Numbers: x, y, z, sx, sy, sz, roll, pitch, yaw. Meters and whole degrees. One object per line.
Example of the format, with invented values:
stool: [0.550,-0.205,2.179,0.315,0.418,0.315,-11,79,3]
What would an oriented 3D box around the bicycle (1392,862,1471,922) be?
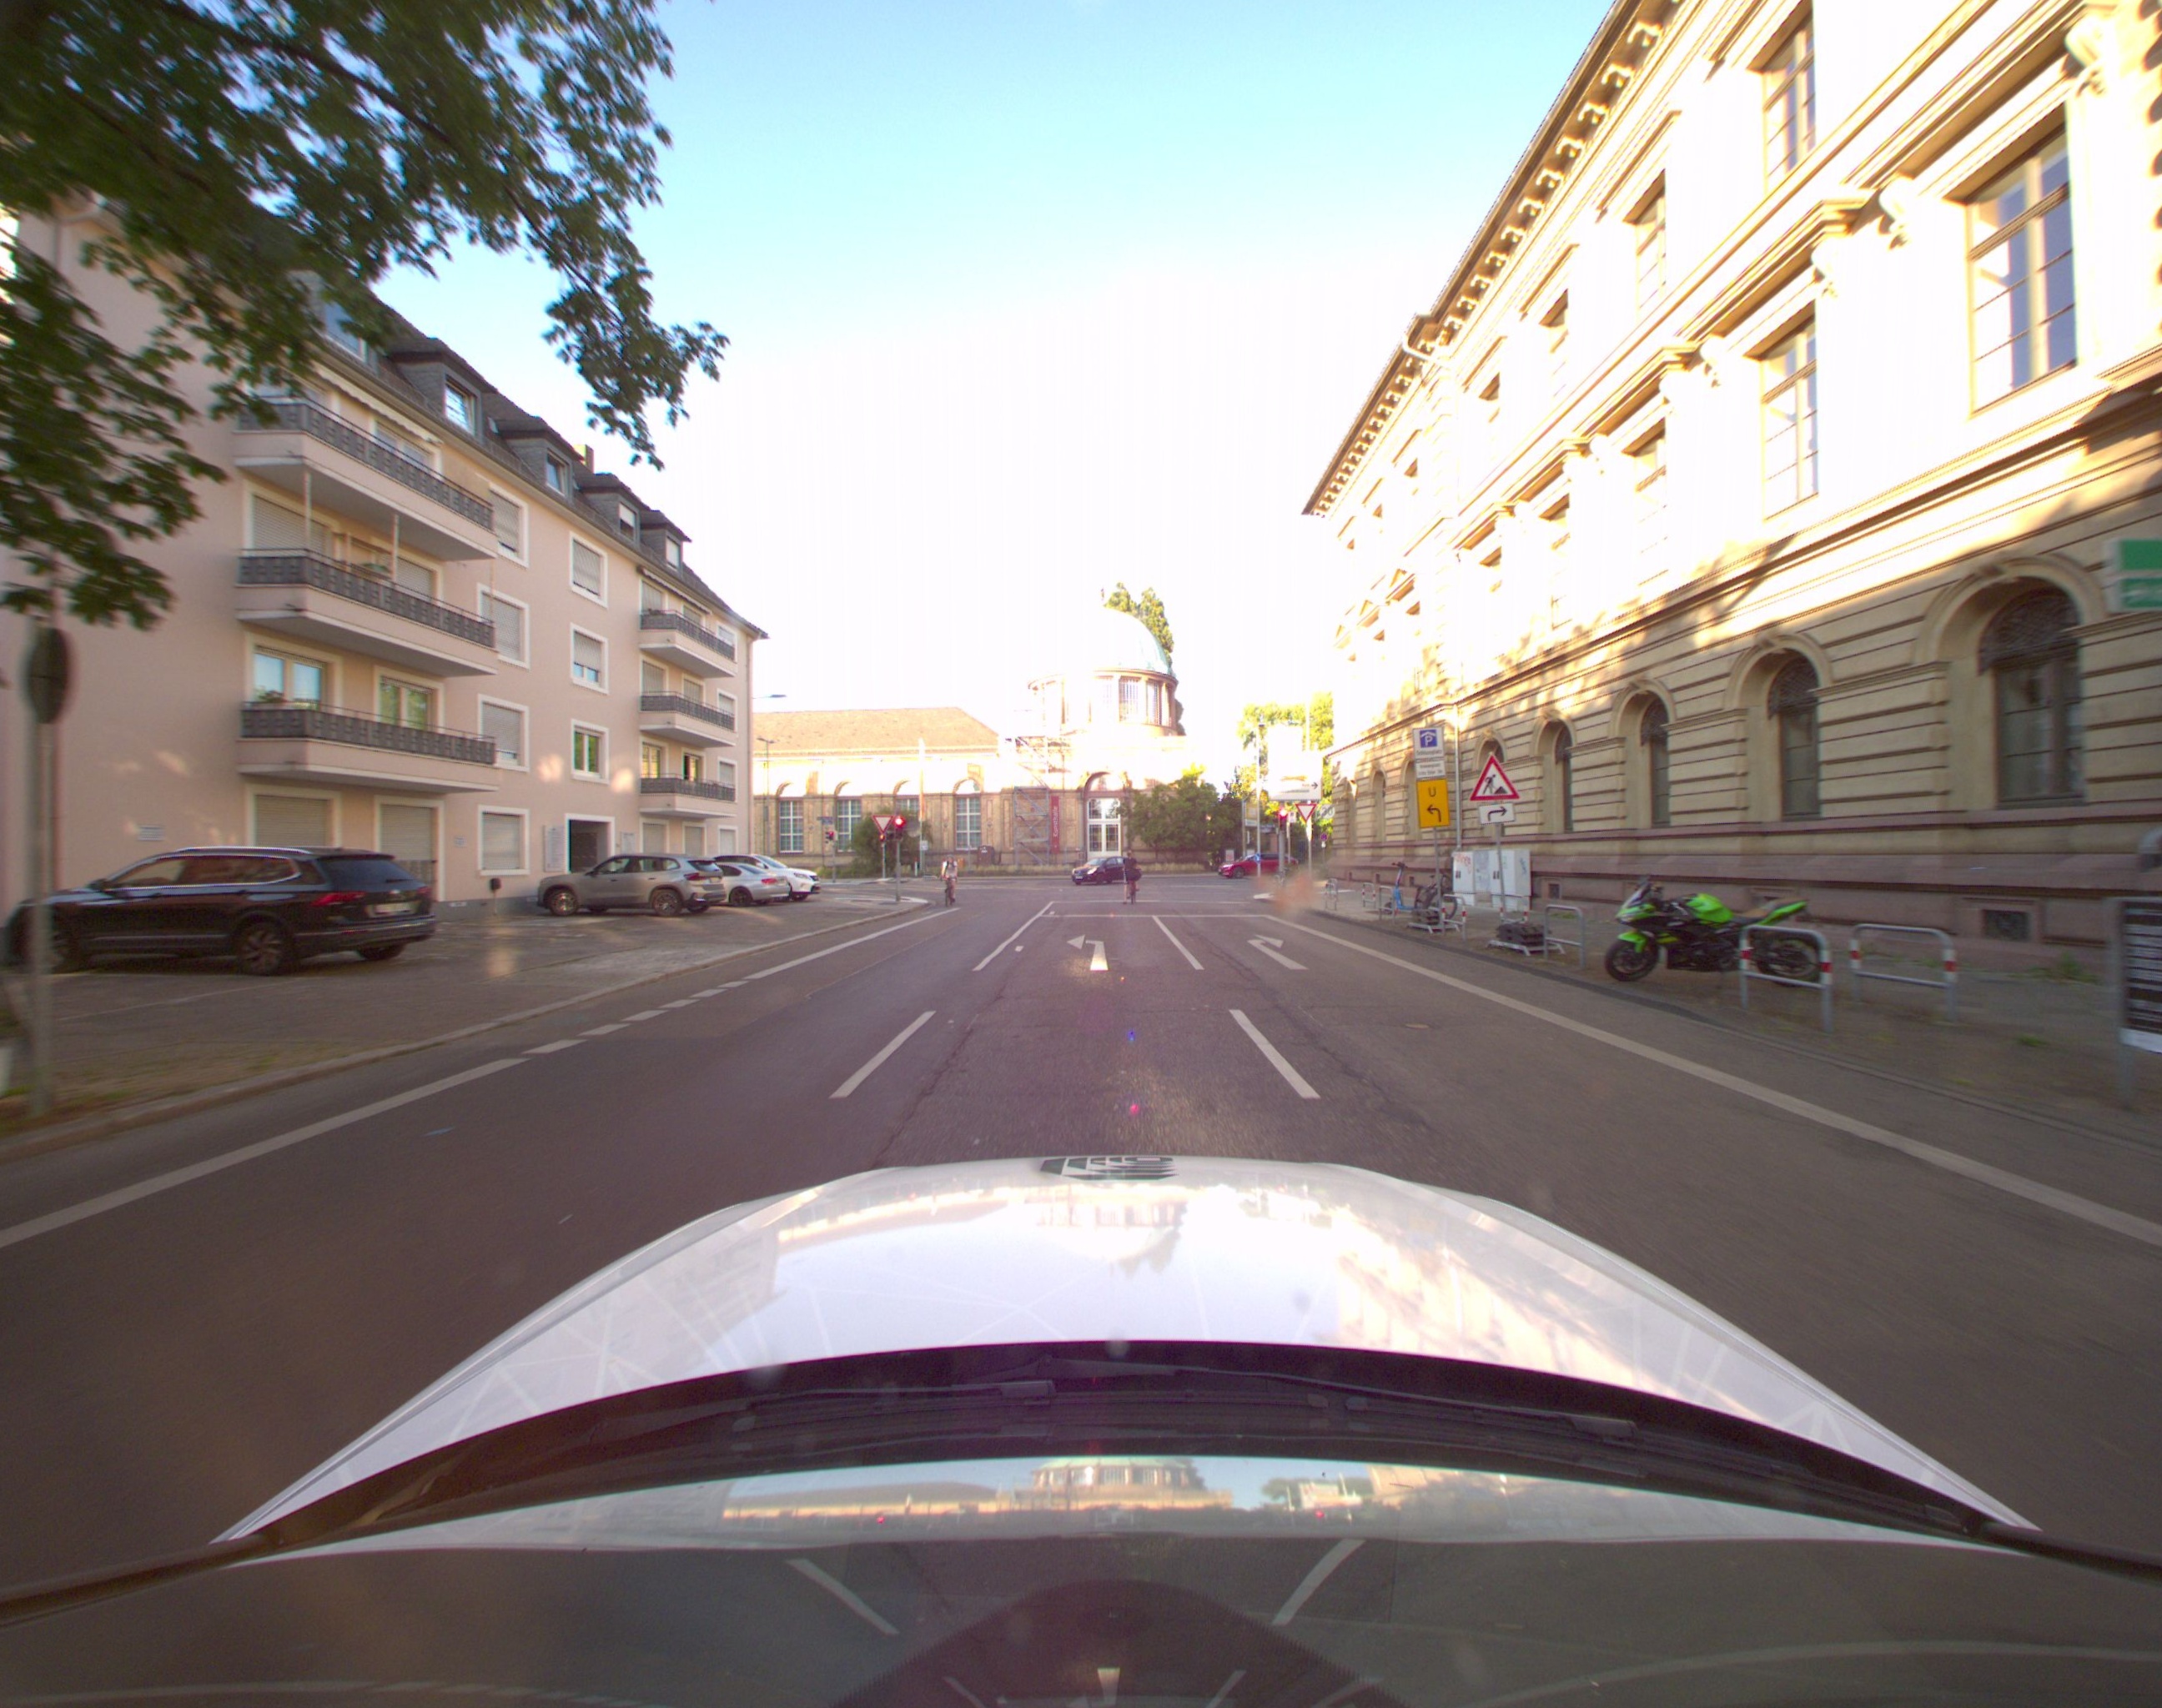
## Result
bicycle: [7.474,0.784,17.473,0.824,1.134,1.945,-4,0,2]

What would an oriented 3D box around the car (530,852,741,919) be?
car: [-11.493,0.783,21.252,4.404,1.605,1.916,1,0,0]

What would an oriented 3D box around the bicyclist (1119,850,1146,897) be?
bicyclist: [1.696,0.648,26.737,0.710,1.502,0.854,-1,-2,16]

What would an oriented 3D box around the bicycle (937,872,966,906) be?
bicycle: [-4.598,1.230,28.970,0.622,1.156,2.053,-1,-2,2]

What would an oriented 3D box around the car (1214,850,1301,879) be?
car: [10.782,0.616,49.788,4.830,1.545,1.831,-2,0,-9]

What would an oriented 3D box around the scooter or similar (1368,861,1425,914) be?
scooter or similar: [7.365,0.773,19.052,1.123,1.195,0.585,-1,0,8]

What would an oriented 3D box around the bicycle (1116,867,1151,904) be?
bicycle: [1.759,1.037,26.901,0.706,1.156,2.077,-1,-2,16]

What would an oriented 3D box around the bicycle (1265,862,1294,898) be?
bicycle: [6.899,0.893,28.367,0.580,1.188,1.921,-1,-2,2]

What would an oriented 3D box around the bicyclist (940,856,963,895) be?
bicyclist: [-4.612,0.753,28.985,0.623,1.364,0.929,-1,-2,2]

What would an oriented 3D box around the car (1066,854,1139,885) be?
car: [1.178,0.817,43.658,3.876,1.471,1.643,-2,1,-43]

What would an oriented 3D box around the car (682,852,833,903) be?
car: [-11.189,0.791,28.391,4.426,1.641,1.942,1,0,0]

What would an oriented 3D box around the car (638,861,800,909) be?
car: [-11.319,0.942,25.661,4.253,1.380,1.735,1,0,0]

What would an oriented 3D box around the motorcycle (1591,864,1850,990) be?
motorcycle: [6.800,0.774,8.831,2.077,1.215,0.715,-3,-1,31]

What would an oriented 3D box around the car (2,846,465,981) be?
car: [-11.508,0.760,11.320,4.404,1.665,1.863,1,0,0]
